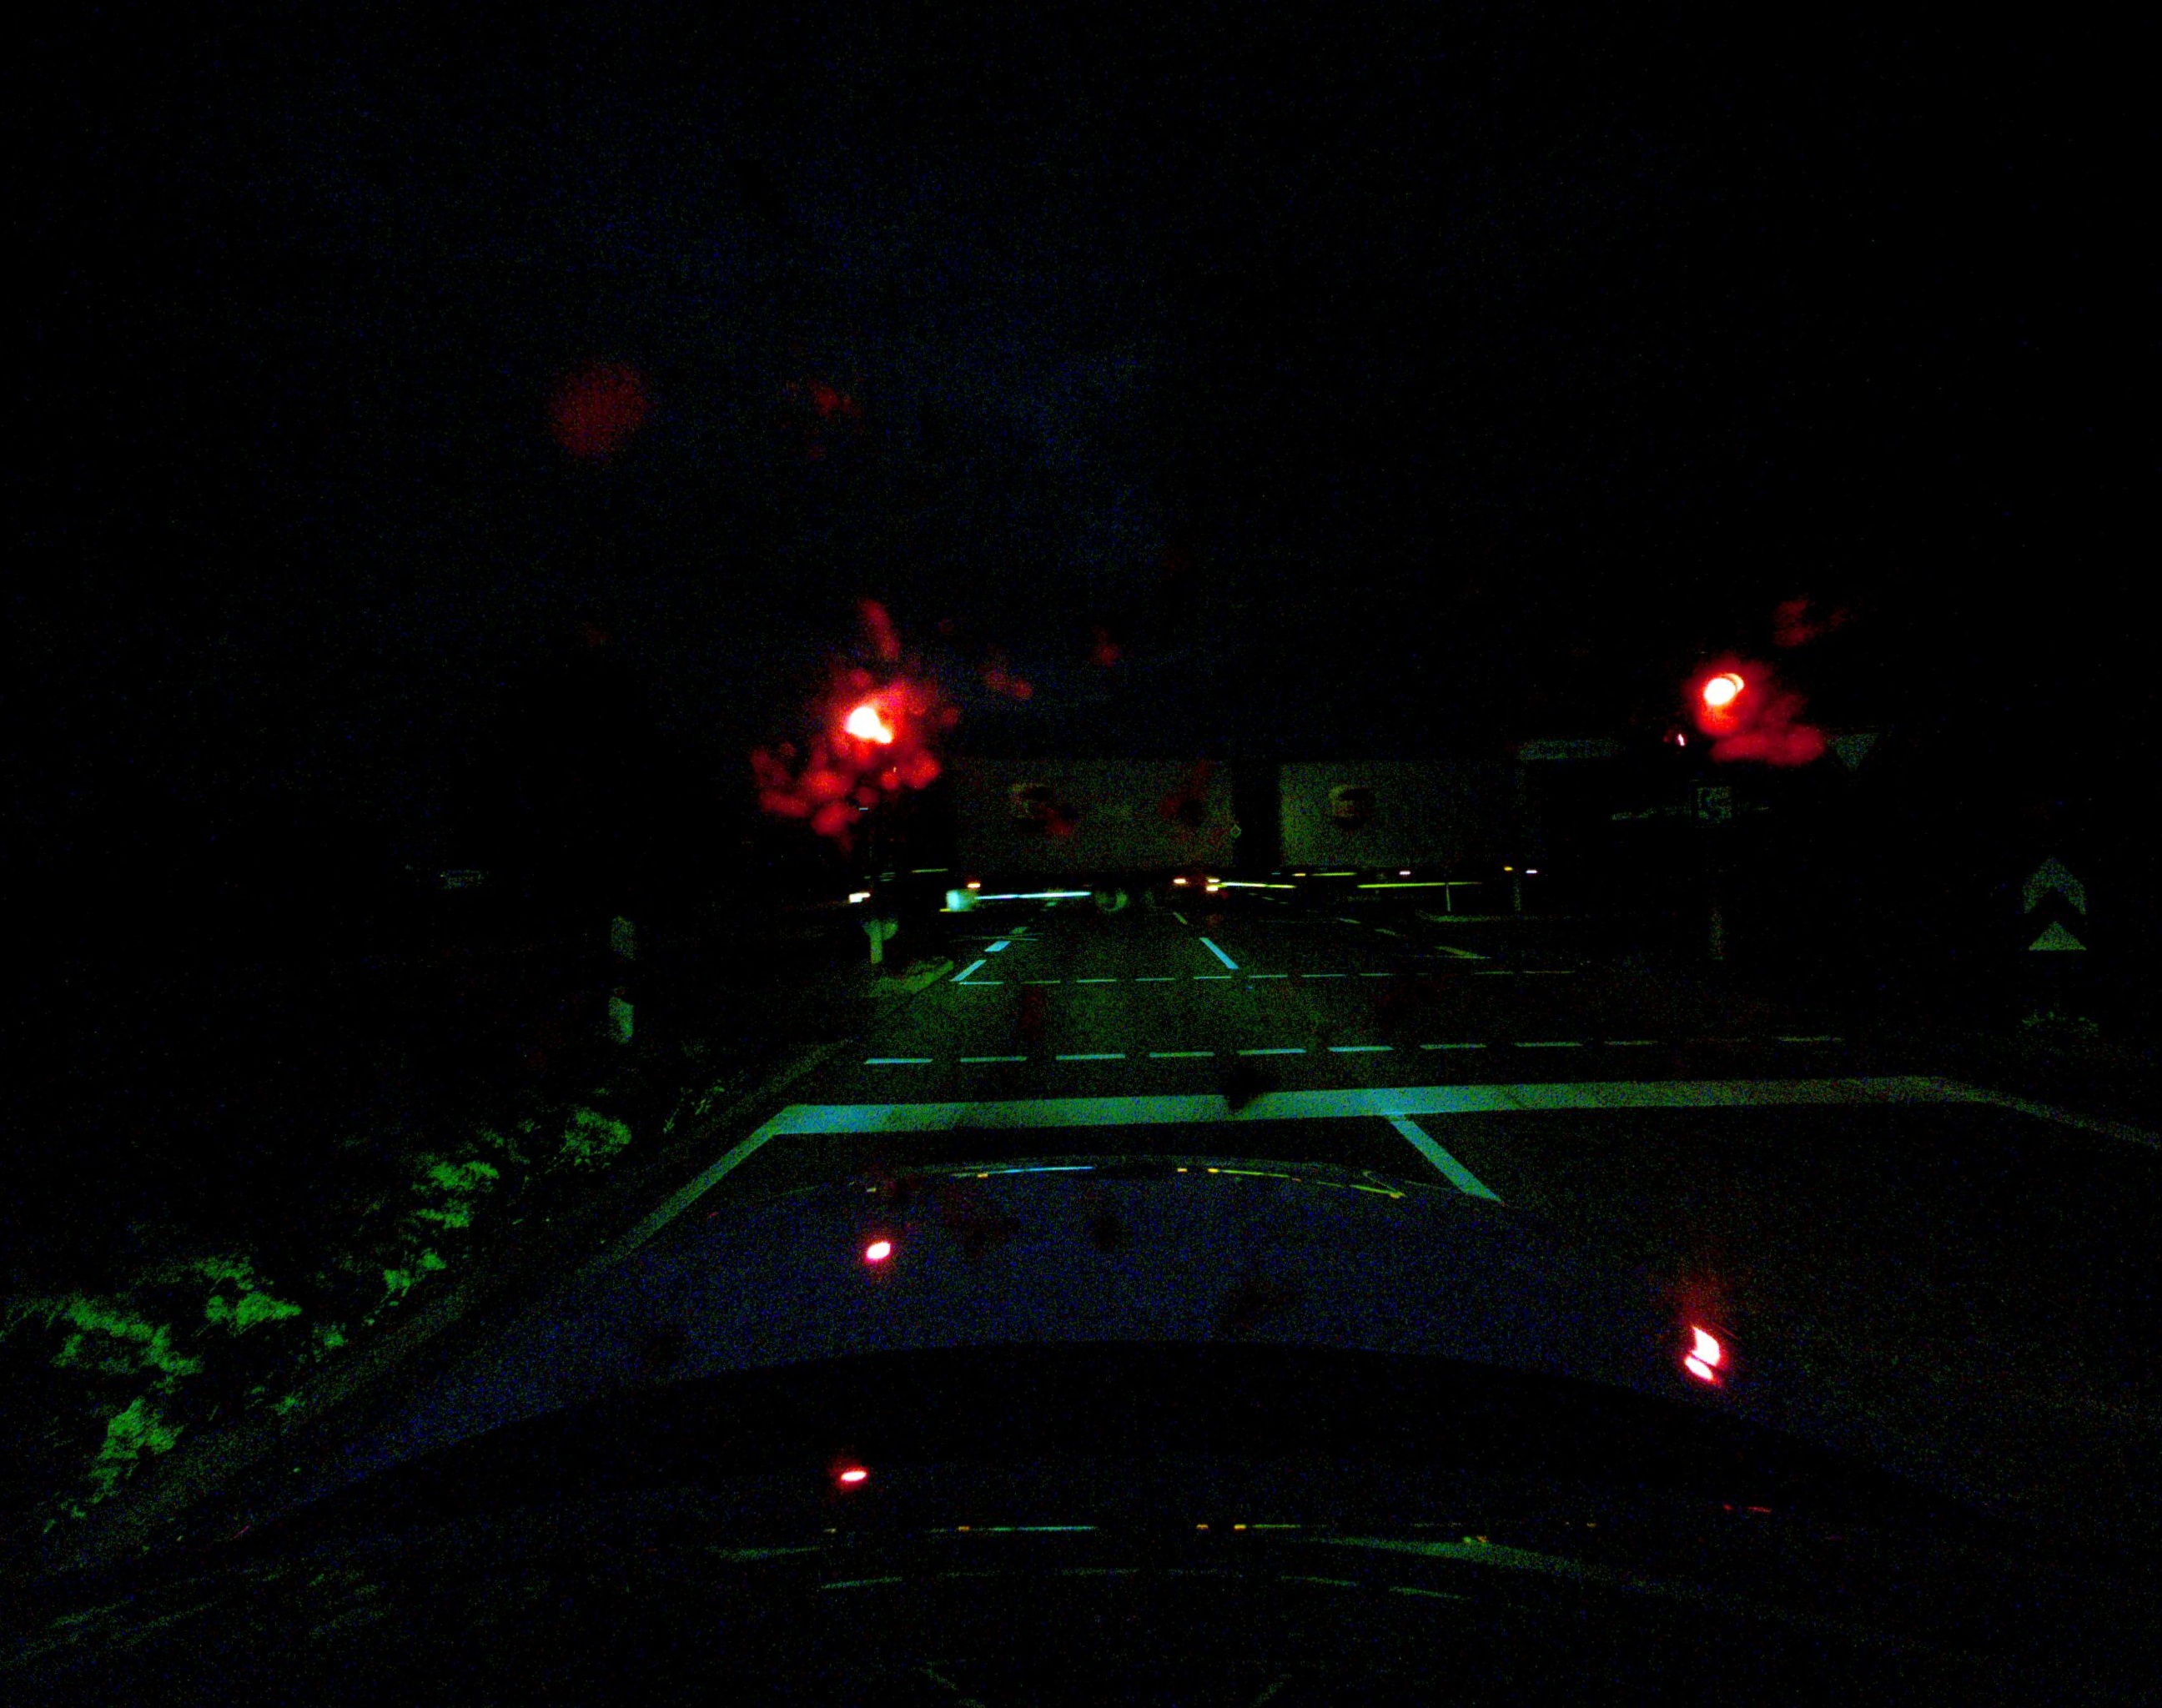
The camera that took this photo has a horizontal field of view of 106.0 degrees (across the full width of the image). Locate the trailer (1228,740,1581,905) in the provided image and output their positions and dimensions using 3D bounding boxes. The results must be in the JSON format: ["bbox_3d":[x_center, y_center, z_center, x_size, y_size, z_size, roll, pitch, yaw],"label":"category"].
[{"bbox_3d":[8.899,-0.858,23.004,8.826,3.943,2.583,-3,0,-2],"label":"trailer"}]

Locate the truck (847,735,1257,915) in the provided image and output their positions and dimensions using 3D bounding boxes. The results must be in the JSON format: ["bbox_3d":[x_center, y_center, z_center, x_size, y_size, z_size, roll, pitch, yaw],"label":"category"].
[{"bbox_3d":[-0.708,-0.769,21.349,10.335,4.117,2.719,-1,-1,-17],"label":"truck"}]

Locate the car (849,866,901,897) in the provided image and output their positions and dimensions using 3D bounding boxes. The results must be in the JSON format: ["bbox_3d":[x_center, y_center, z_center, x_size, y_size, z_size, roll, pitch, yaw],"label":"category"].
[{"bbox_3d":[-11.061,1.449,43.890,1.622,1.376,3.591,-6,0,2],"label":"car"}]
